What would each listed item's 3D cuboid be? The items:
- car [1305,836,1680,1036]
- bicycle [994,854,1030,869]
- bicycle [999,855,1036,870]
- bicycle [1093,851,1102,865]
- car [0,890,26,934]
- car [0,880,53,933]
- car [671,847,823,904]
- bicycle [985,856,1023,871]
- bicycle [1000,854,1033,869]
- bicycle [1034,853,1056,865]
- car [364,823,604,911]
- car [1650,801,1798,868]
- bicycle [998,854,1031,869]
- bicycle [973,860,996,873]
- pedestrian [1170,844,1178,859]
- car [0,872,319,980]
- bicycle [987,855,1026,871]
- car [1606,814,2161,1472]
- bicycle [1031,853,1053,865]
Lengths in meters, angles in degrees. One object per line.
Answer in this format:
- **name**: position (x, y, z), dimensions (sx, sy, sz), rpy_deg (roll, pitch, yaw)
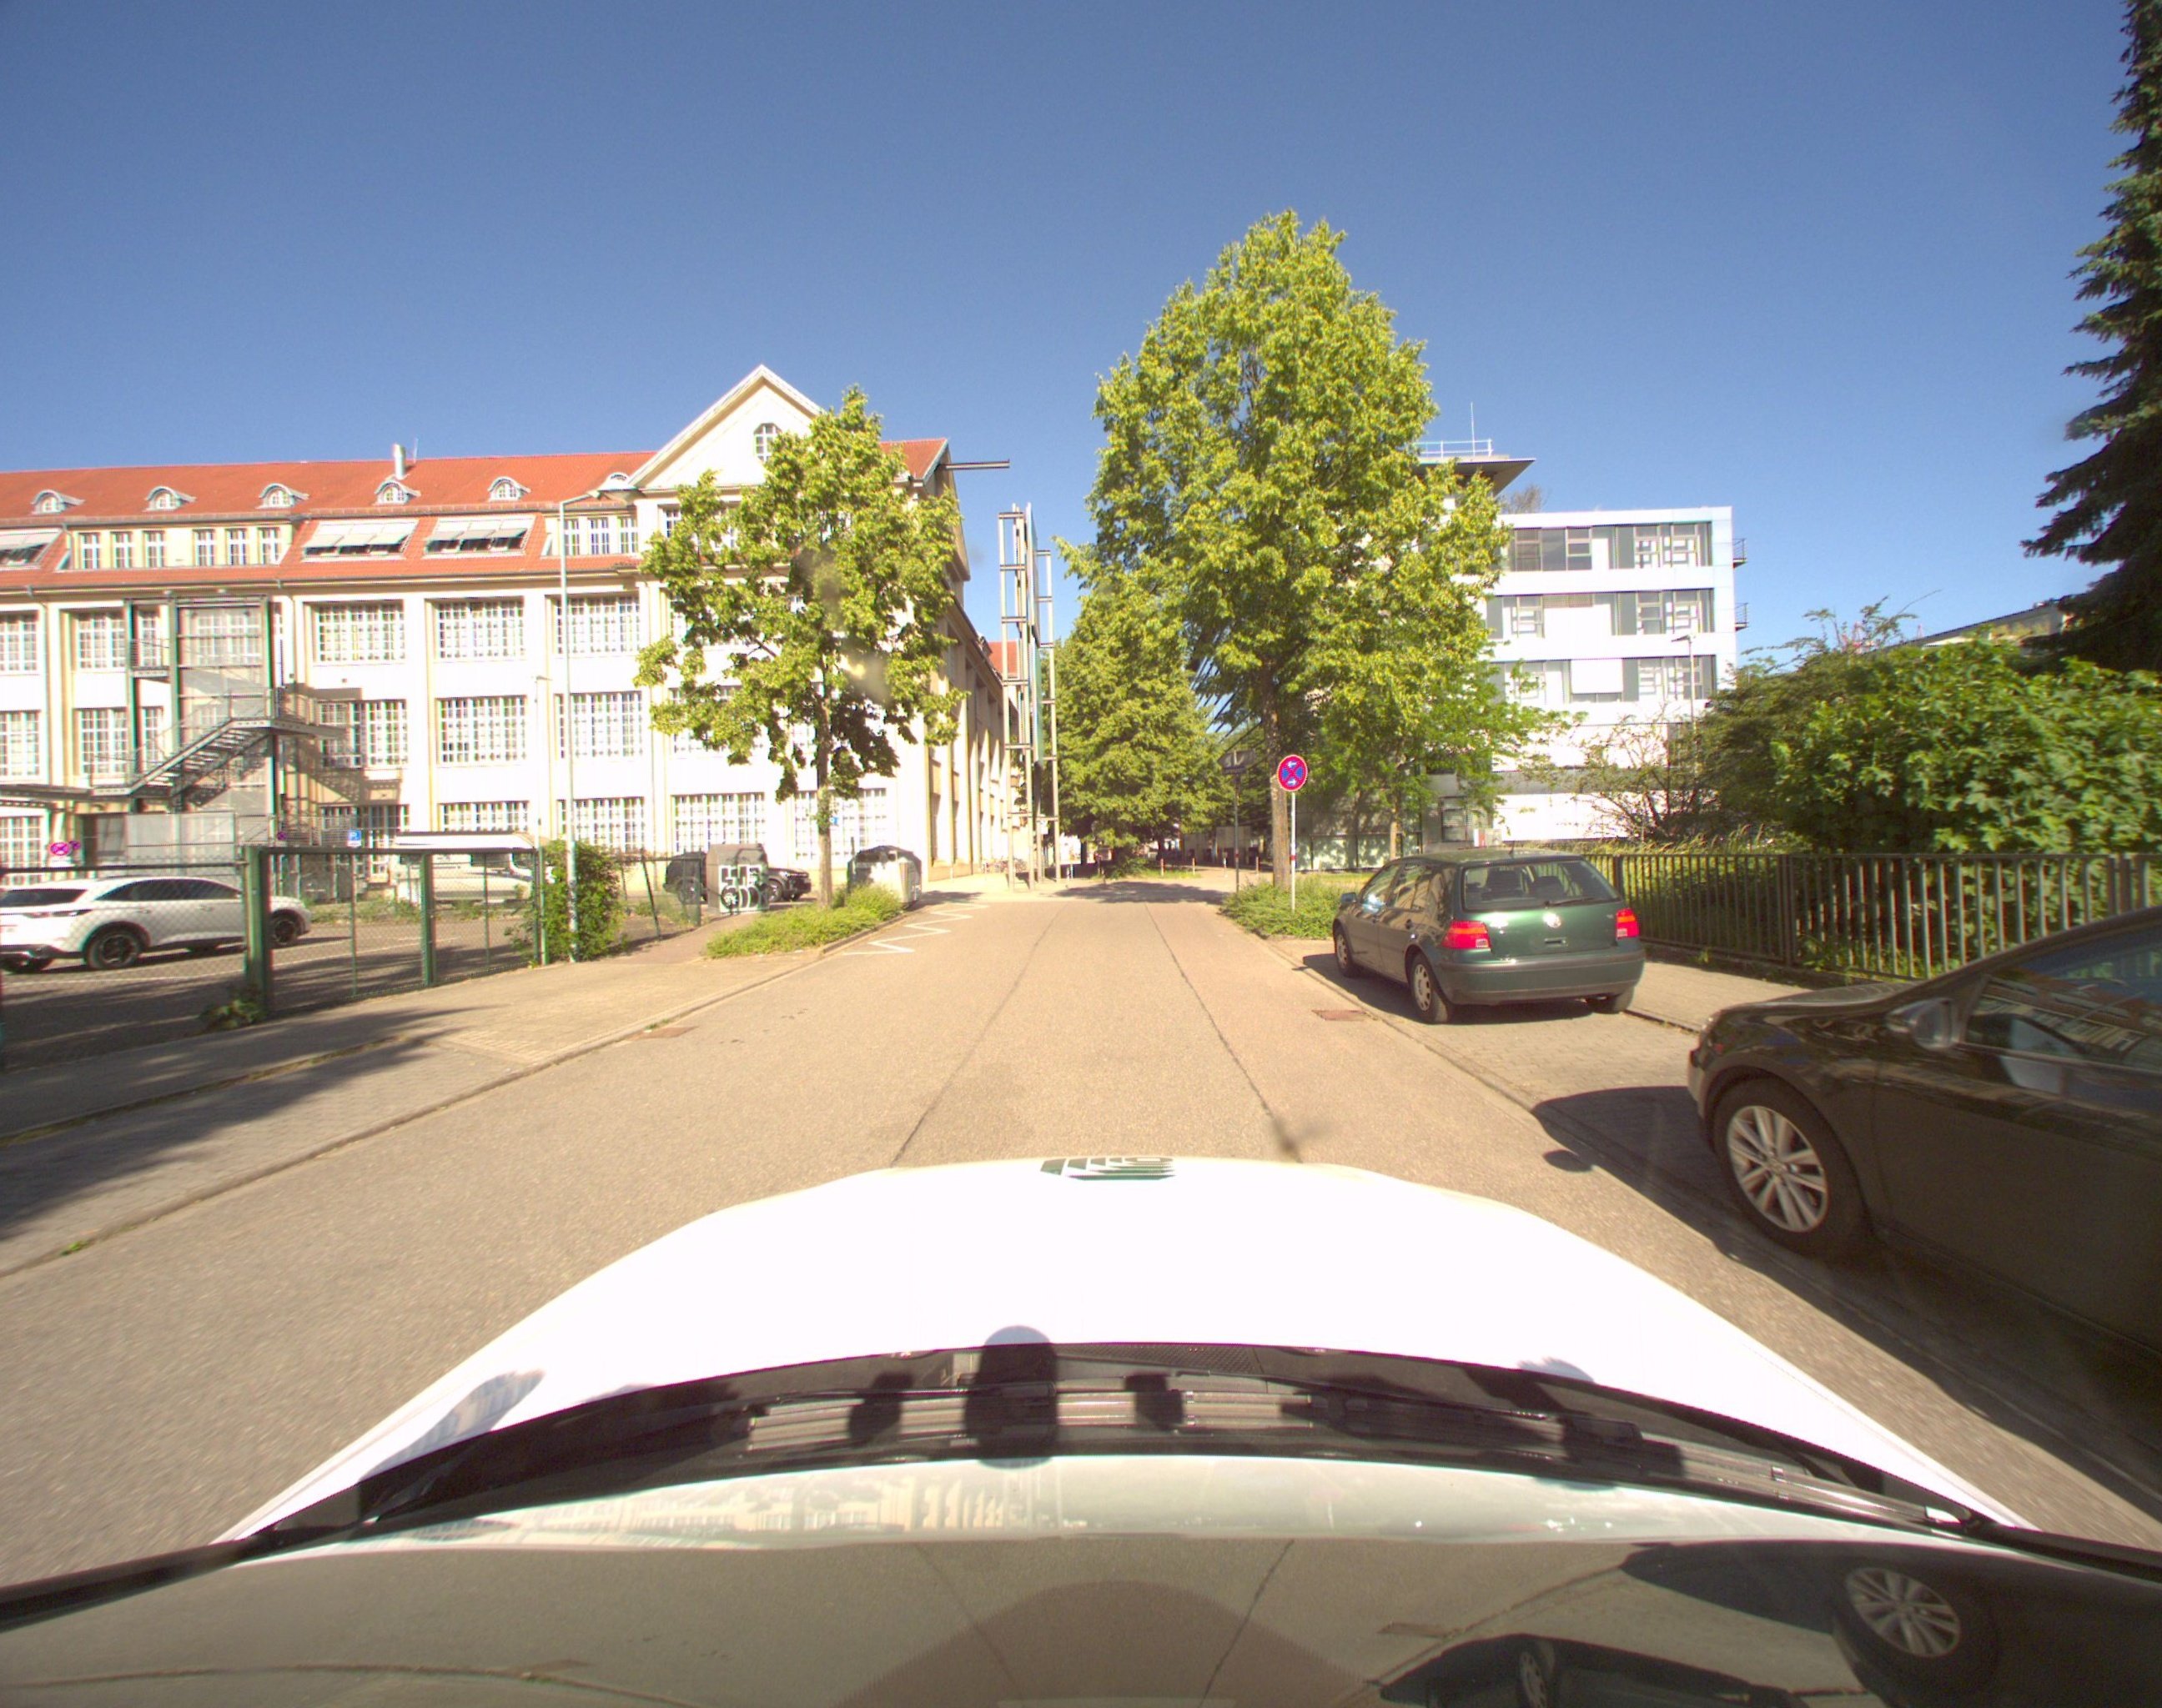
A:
- **car**: position (3.753, 0.642, 8.454), dimensions (1.740, 1.422, 4.427), rpy_deg (-4, 0, 2)
- **bicycle**: position (-5.607, 0.608, 66.320), dimensions (2.794, 1.150, 0.718), rpy_deg (-2, 0, -3)
- **bicycle**: position (-4.971, 0.678, 63.996), dimensions (2.794, 1.063, 0.718), rpy_deg (-2, 0, -3)
- **bicycle**: position (1.486, 0.348, 73.321), dimensions (0.618, 1.197, 2.129), rpy_deg (-2, 0, -3)
- **car**: position (-37.357, 1.992, 26.295), dimensions (4.195, 1.425, 1.852), rpy_deg (-2, 0, 2)
- **car**: position (-34.099, 1.688, 24.090), dimensions (1.884, 1.560, 4.244), rpy_deg (-2, 0, 1)
- **car**: position (-10.885, 0.686, 26.719), dimensions (4.073, 1.695, 2.002), rpy_deg (-2, 0, 3)
- **bicycle**: position (-5.773, 0.702, 61.075), dimensions (2.790, 1.063, 0.719), rpy_deg (-2, 0, 1)
- **bicycle**: position (-5.430, 0.601, 68.560), dimensions (2.725, 1.150, 0.718), rpy_deg (-2, 0, -3)
- **bicycle**: position (-3.508, 0.469, 79.792), dimensions (2.049, 1.066, 0.507), rpy_deg (-2, 0, 3)
- **car**: position (-19.448, 0.431, 26.738), dimensions (6.241, 2.597, 2.165), rpy_deg (-2, -2, 1)
- **car**: position (27.686, -0.861, 35.376), dimensions (2.216, 2.622, 5.475), rpy_deg (-2, 2, 2)
- **bicycle**: position (-5.540, 0.627, 67.772), dimensions (2.725, 1.150, 0.718), rpy_deg (-2, 0, -3)
- **bicycle**: position (-6.713, 0.886, 56.662), dimensions (0.773, 0.792, 2.892), rpy_deg (-2, 0, 10)
- **pedestrian**: position (9.488, -0.246, 82.996), dimensions (0.713, 1.550, 0.692), rpy_deg (-2, 0, 8)
- **car**: position (-17.761, 1.241, 15.567), dimensions (1.984, 1.609, 4.432), rpy_deg (-2, 0, 4)
- **bicycle**: position (-5.453, 0.638, 59.474), dimensions (2.794, 1.063, 0.718), rpy_deg (-2, 0, -3)
- **car**: position (3.378, 0.648, 1.846), dimensions (1.778, 1.516, 4.000), rpy_deg (-2, 0, 0)
- **bicycle**: position (-3.769, 0.500, 79.106), dimensions (2.049, 1.066, 0.507), rpy_deg (-2, 0, 3)
